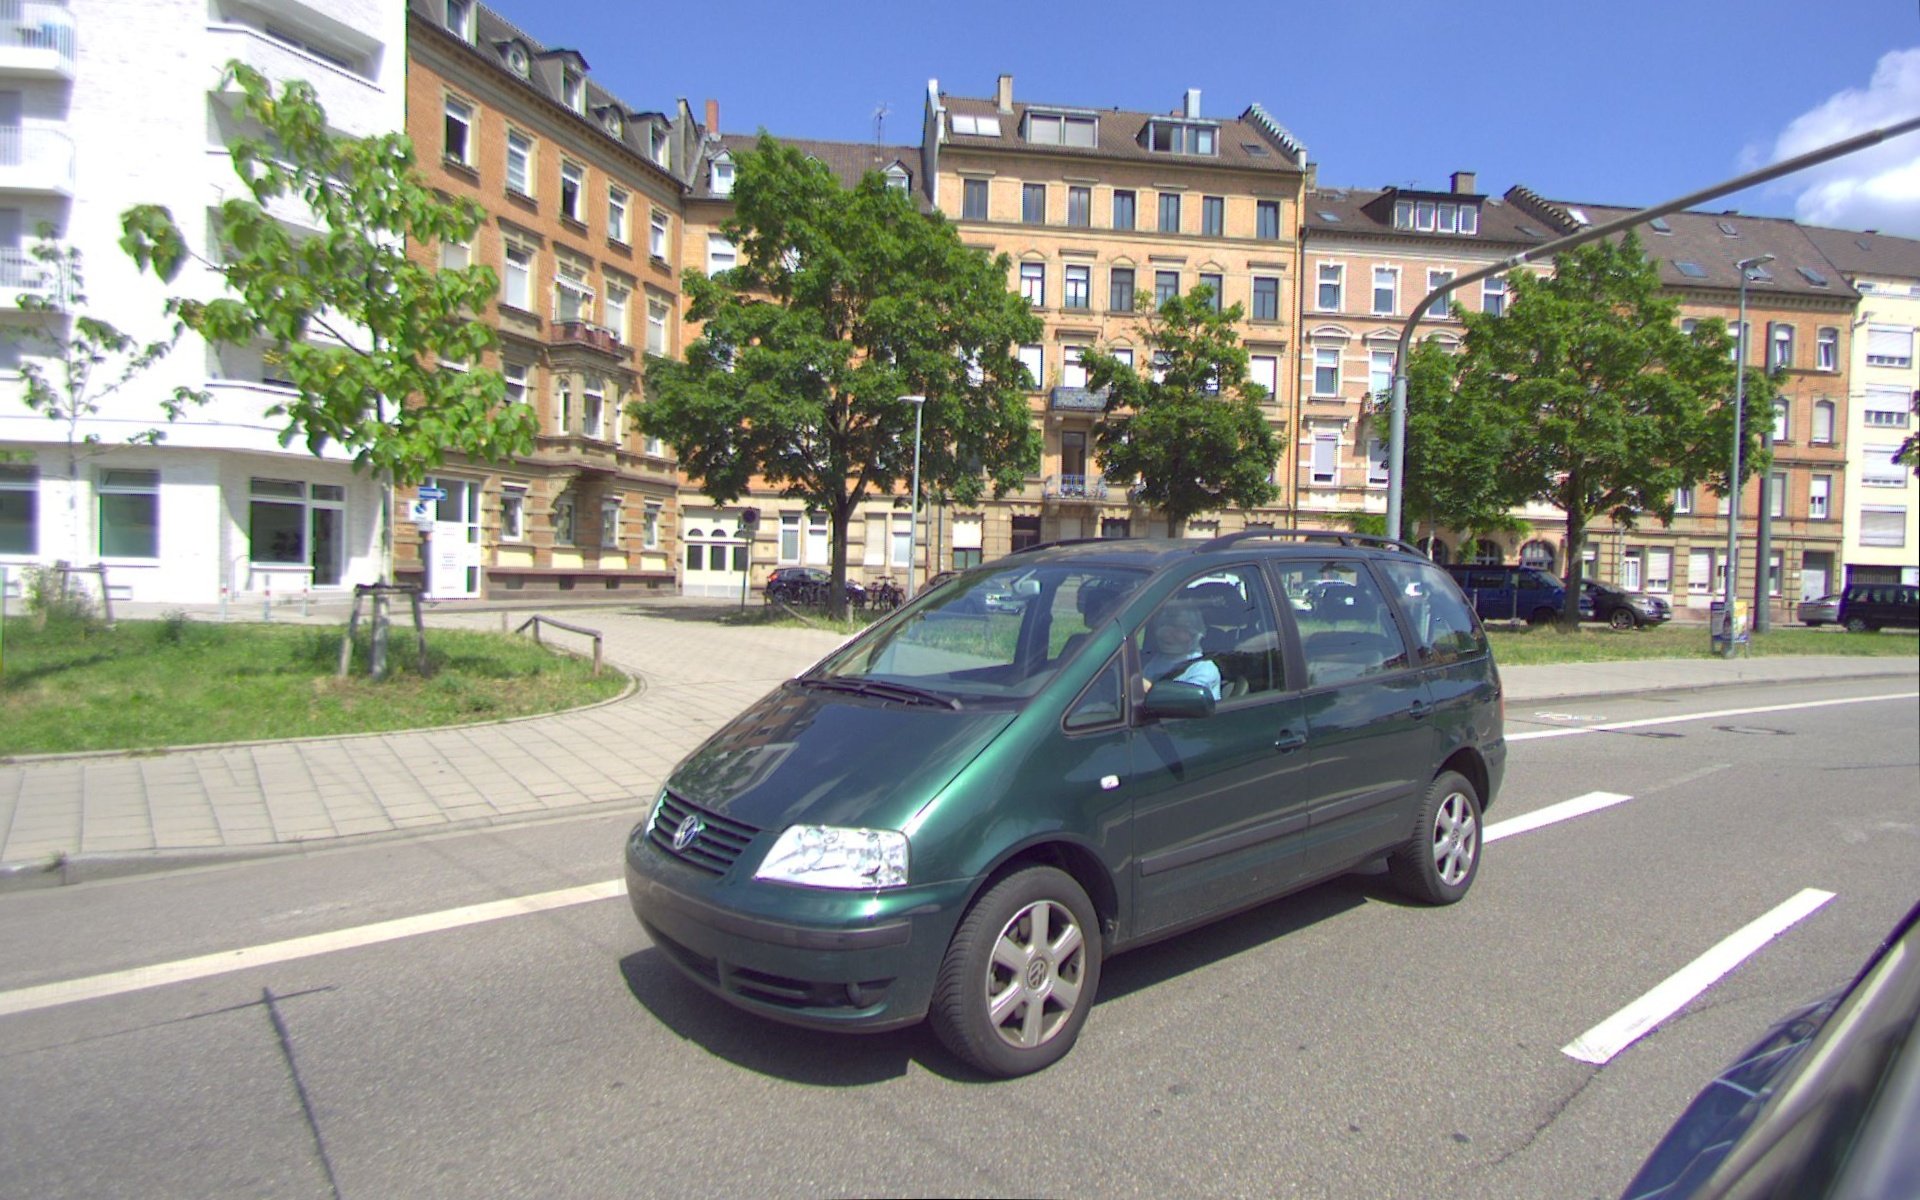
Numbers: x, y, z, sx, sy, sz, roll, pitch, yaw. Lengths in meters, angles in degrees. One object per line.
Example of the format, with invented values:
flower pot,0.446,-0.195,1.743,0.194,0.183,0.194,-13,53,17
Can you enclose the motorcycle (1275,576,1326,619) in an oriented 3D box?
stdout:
motorcycle,9.645,-0.093,28.703,0.627,1.181,1.791,1,1,-7

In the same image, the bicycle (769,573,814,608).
bicycle,-4.943,-0.288,29.496,0.533,0.981,2.394,1,0,-29

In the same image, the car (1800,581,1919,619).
car,38.203,0.004,42.698,4.142,1.510,1.840,1,0,-5

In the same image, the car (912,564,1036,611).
car,0.320,-0.358,29.811,1.826,1.260,4.170,1,0,-29

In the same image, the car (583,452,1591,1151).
car,1.003,0.504,4.823,4.939,1.778,1.823,0,0,-38

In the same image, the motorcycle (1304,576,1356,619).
motorcycle,10.505,-0.087,28.788,0.627,1.181,1.791,1,1,-7

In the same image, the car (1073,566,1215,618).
car,5.549,-0.278,31.007,1.771,1.445,4.261,0,2,-34

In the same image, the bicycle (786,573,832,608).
bicycle,-4.457,-0.291,29.776,0.533,0.981,2.394,1,0,-29

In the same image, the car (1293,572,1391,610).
car,15.236,-0.360,40.487,3.285,1.420,1.570,1,1,-2

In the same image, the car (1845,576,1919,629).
car,32.933,0.090,34.266,1.817,1.763,4.150,1,0,-35

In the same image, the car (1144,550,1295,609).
car,10.148,-0.787,39.812,5.286,2.206,2.120,1,0,-5

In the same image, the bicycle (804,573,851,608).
bicycle,-3.950,-0.280,30.049,0.533,0.981,2.394,1,0,-29

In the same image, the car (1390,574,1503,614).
car,19.639,-0.238,40.947,3.776,1.510,1.666,1,0,-5

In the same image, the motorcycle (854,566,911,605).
motorcycle,-2.383,-0.443,30.643,0.796,1.139,2.394,1,0,-29

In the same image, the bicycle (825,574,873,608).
bicycle,-3.350,-0.268,30.373,0.533,0.968,2.394,1,0,-29

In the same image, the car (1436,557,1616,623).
car,17.831,-0.312,32.086,1.880,1.952,4.629,1,0,-36

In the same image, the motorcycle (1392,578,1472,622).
motorcycle,13.160,-0.011,28.264,1.874,1.181,0.638,1,1,7

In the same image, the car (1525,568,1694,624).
car,20.734,-0.142,32.475,1.879,1.677,4.178,1,0,-32

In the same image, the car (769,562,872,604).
car,-5.244,-0.642,38.306,3.776,1.510,1.666,1,0,-5
